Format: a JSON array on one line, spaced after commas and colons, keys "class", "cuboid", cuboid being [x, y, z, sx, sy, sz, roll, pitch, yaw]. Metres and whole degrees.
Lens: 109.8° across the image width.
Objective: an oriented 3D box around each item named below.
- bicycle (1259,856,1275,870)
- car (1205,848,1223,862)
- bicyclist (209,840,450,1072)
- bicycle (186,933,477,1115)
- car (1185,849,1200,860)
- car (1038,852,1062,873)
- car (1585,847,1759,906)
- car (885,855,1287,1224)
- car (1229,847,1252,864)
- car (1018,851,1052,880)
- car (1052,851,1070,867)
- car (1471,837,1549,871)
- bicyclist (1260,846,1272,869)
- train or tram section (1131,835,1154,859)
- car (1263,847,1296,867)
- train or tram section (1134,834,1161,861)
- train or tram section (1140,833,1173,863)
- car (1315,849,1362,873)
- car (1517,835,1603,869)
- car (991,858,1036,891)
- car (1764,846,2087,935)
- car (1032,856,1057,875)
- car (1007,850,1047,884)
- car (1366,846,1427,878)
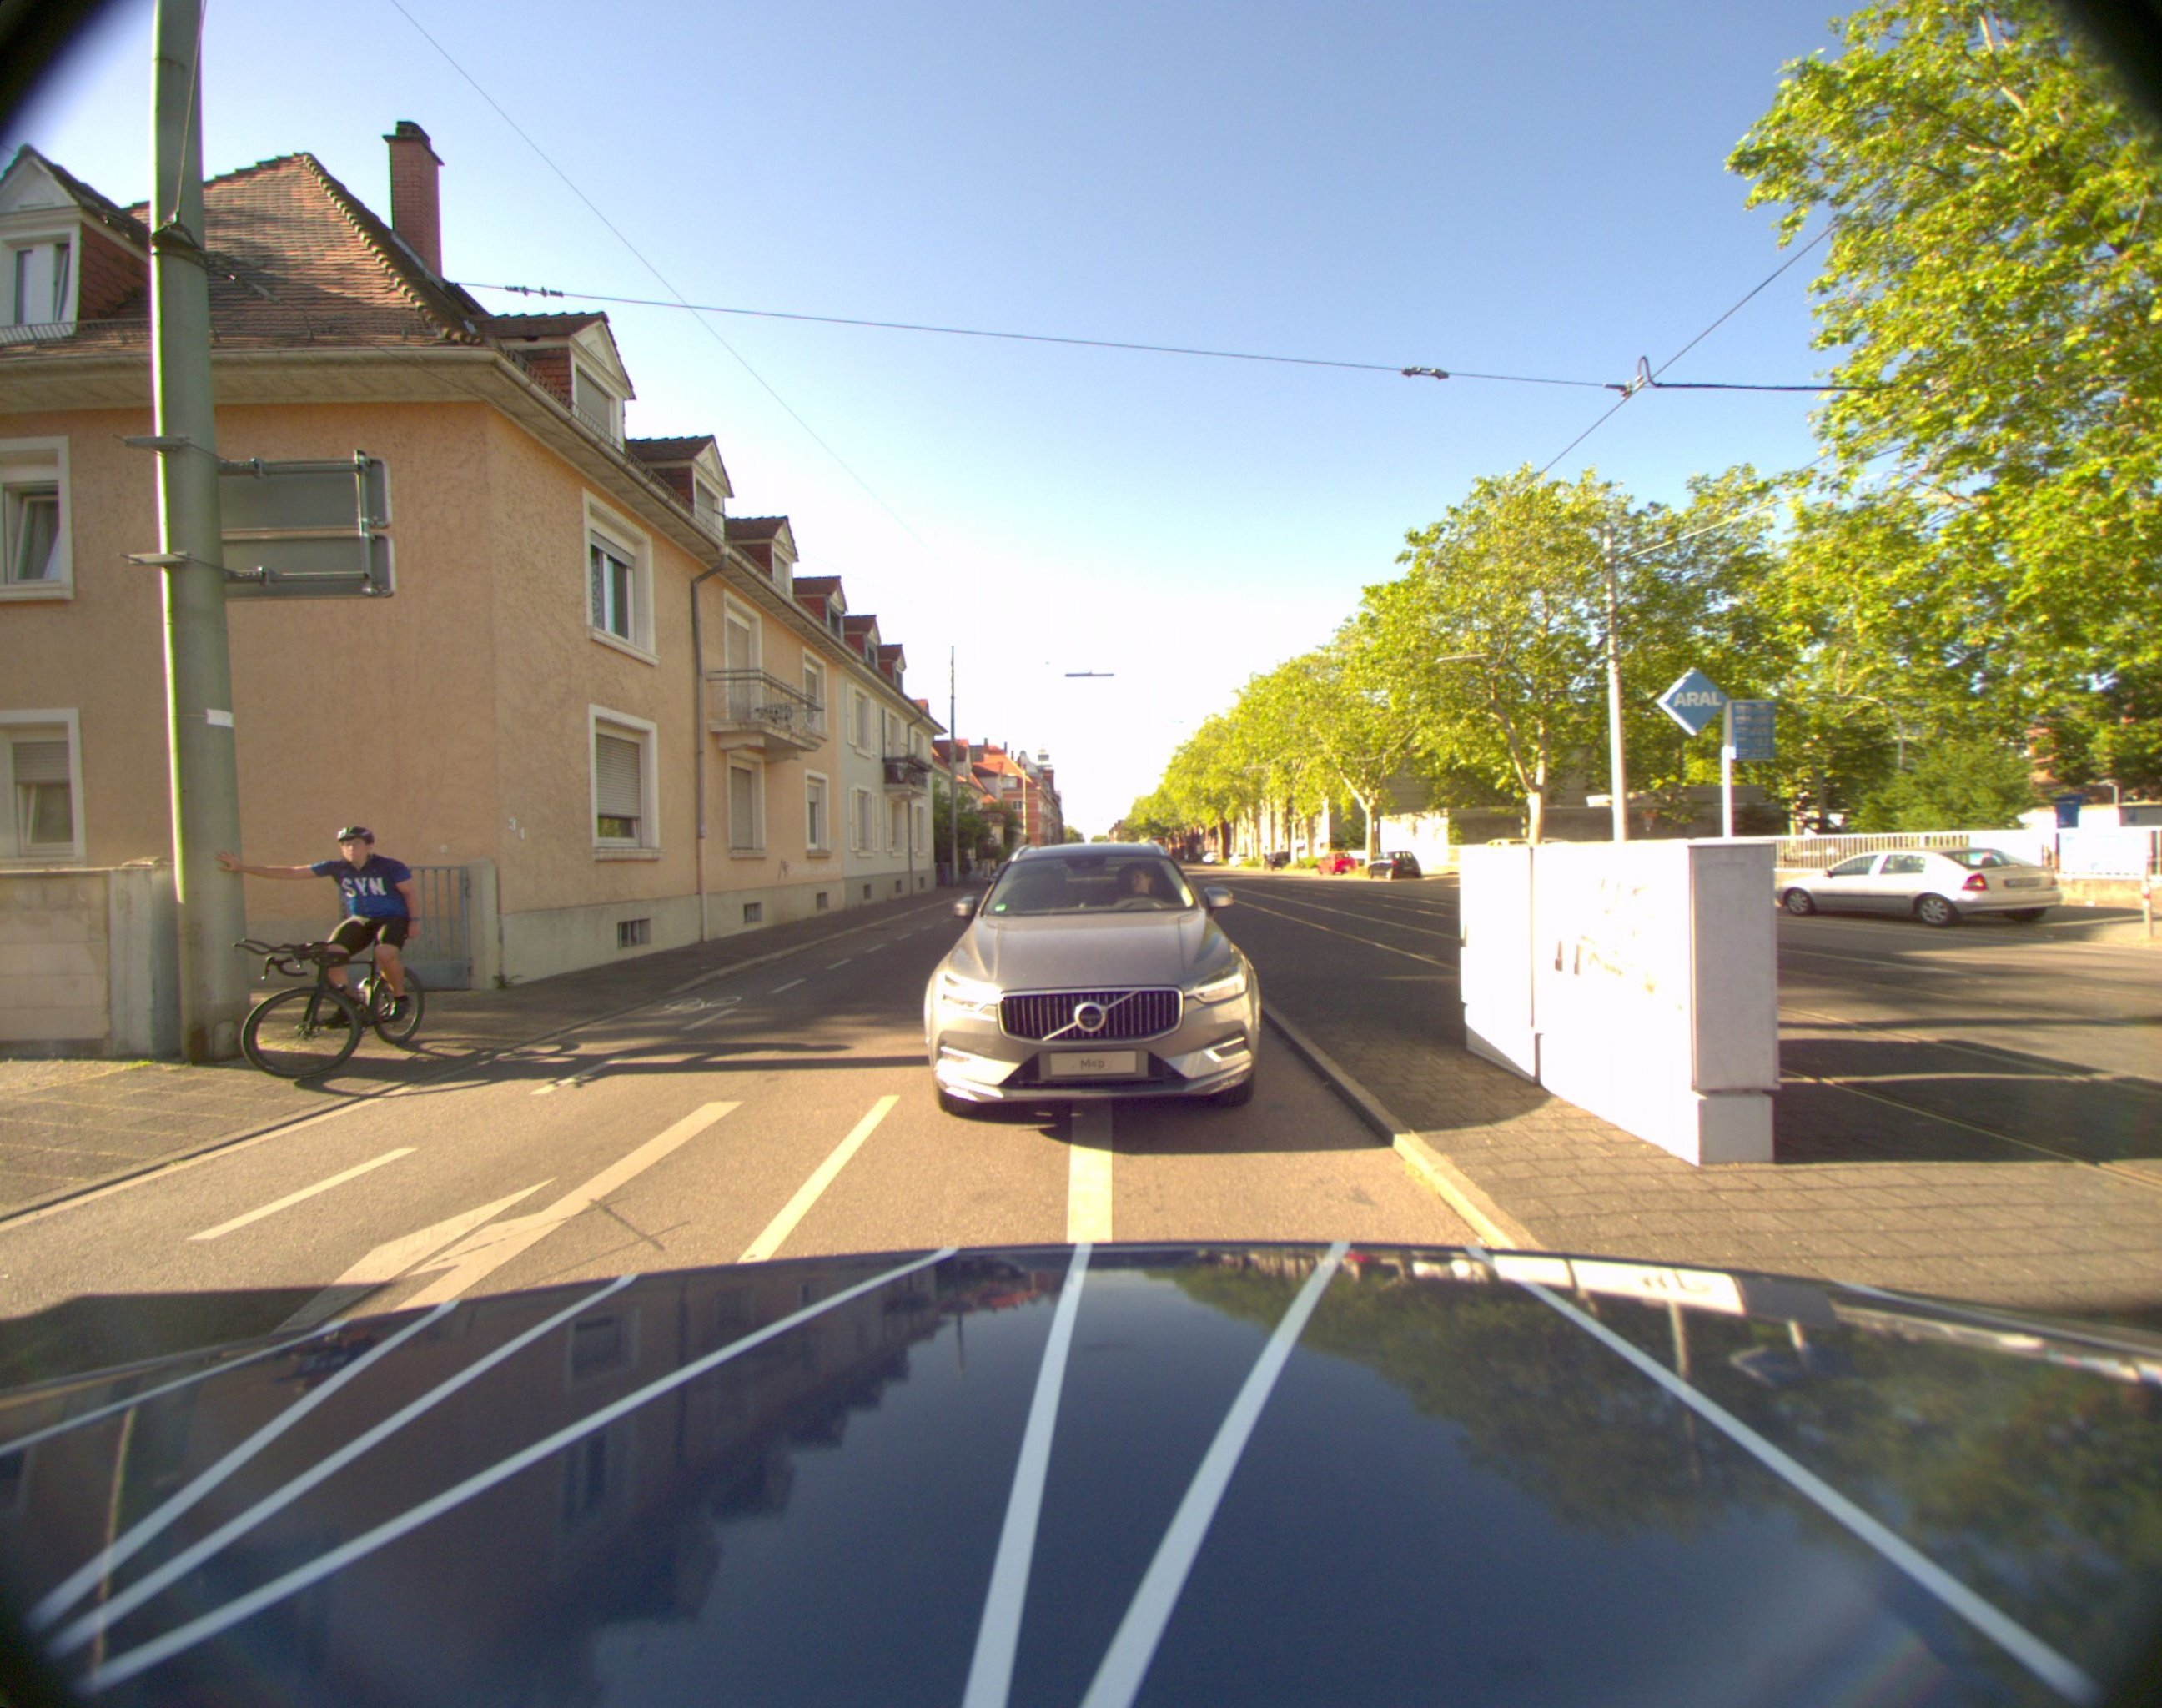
[{"class": "bicycle", "cuboid": [15.691, 0.732, 64.276, 0.654, 1.114, 2.532, -1, 0, -2]}, {"class": "car", "cuboid": [17.618, 0.082, 100.913, 1.845, 1.664, 4.098, -4, 0, 3]}, {"class": "bicyclist", "cuboid": [-6.164, 0.787, 6.297, 1.071, 1.728, 0.853, 4, 1, 1]}, {"class": "bicycle", "cuboid": [-5.922, 1.280, 6.165, 0.594, 1.045, 1.719, 4, 1, 1]}, {"class": "car", "cuboid": [18.395, 0.000, 125.417, 1.845, 1.664, 4.098, -4, 0, 3]}, {"class": "car", "cuboid": [-2.658, 0.700, 65.780, 1.847, 1.681, 4.000, -1, 0, 0]}, {"class": "car", "cuboid": [16.526, 0.572, 21.557, 1.845, 1.400, 4.138, -4, 0, 4]}, {"class": "car", "cuboid": [0.007, 0.892, 5.797, 1.892, 1.695, 4.318, -1, 0, -1]}, {"class": "car", "cuboid": [17.509, 0.123, 83.551, 1.845, 1.664, 4.098, -4, 0, 3]}, {"class": "car", "cuboid": [-2.783, 0.661, 46.786, 1.847, 1.681, 4.000, -1, 0, 0]}, {"class": "car", "cuboid": [-2.223, 0.556, 85.494, 1.999, 1.641, 4.658, -1, 0, -1]}, {"class": "car", "cuboid": [21.761, -0.023, 38.721, 1.845, 1.524, 4.001, -4, 0, 4]}, {"class": "bicyclist", "cuboid": [15.636, 0.288, 64.311, 0.721, 1.853, 1.070, -1, 1, -3]}, {"class": "train or tram section", "cuboid": [9.291, -1.055, 115.769, 2.843, 3.456, 10.182, -2, 1, 1]}, {"class": "car", "cuboid": [17.185, 0.230, 65.903, 1.845, 1.607, 4.098, -4, 0, 3]}, {"class": "train or tram section", "cuboid": [9.189, -0.918, 105.598, 2.843, 3.456, 10.181, -2, 1, 0]}, {"class": "train or tram section", "cuboid": [9.320, -0.794, 95.452, 2.862, 3.456, 10.180, -2, 1, -1]}, {"class": "car", "cuboid": [16.975, 0.451, 50.318, 1.845, 1.400, 4.001, -4, 0, 3]}, {"class": "car", "cuboid": [24.055, -0.106, 38.343, 1.845, 1.524, 4.000, -4, 0, 2]}, {"class": "car", "cuboid": [-3.218, 0.951, 36.987, 1.847, 1.412, 3.999, -1, 0, -1]}, {"class": "car", "cuboid": [16.243, 0.621, 14.984, 1.846, 1.400, 3.999, -4, 0, -1]}, {"class": "car", "cuboid": [-2.863, 0.865, 60.416, 1.808, 1.402, 3.999, -1, 0, -1]}, {"class": "car", "cuboid": [-2.953, 0.691, 42.259, 1.847, 1.742, 4.144, -1, 0, 0]}, {"class": "car", "cuboid": [16.979, 0.413, 41.094, 1.845, 1.524, 4.001, -4, 0, 4]}]
